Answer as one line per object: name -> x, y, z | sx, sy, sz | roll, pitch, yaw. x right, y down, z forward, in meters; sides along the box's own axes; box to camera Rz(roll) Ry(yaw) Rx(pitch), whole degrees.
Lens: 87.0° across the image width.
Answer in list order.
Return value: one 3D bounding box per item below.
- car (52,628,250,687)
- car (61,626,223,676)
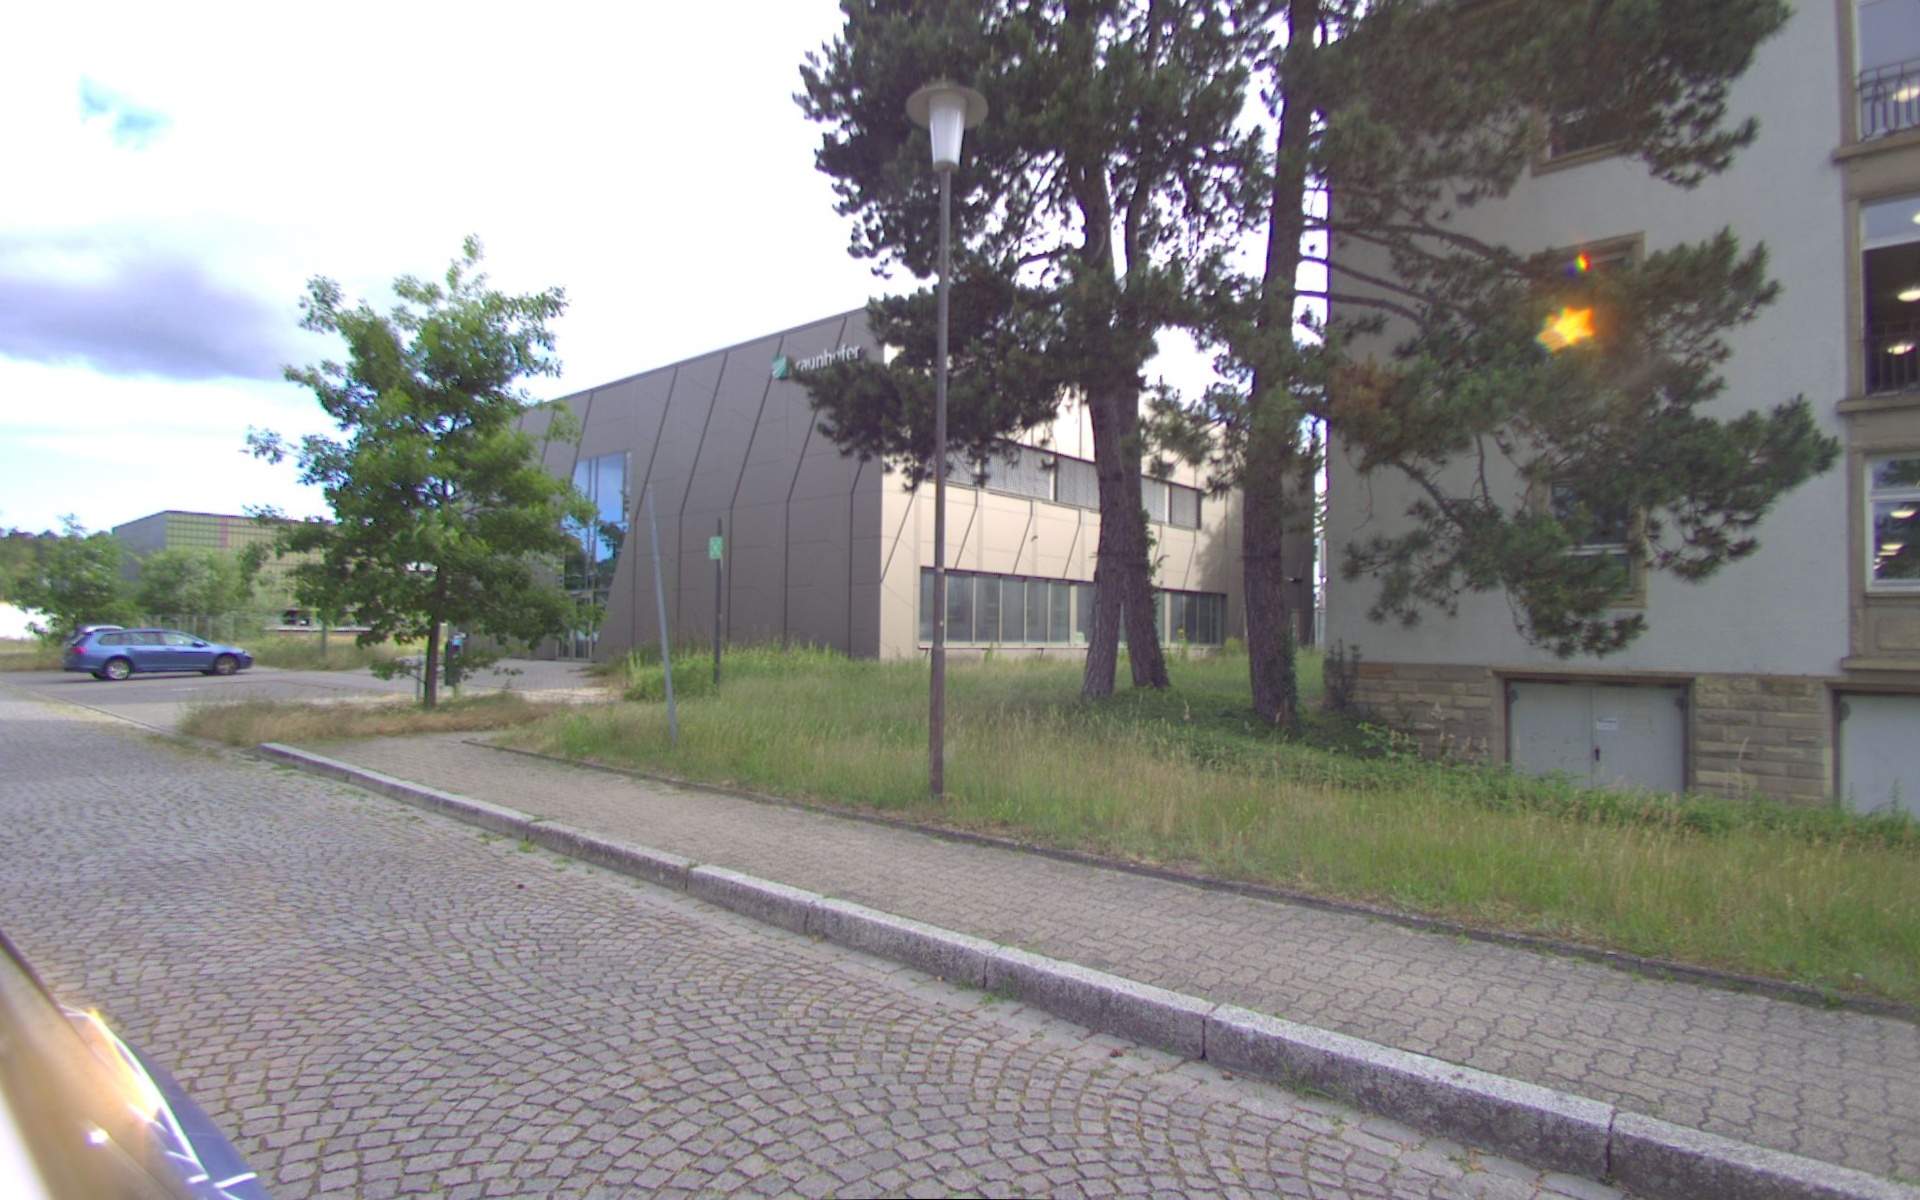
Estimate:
car -> -23.969, 1.644, 30.115 | 1.715, 1.522, 4.350 | -1, 0, 38
car -> -28.790, 1.756, 35.703 | 4.339, 1.557, 1.843 | 0, -1, -43
